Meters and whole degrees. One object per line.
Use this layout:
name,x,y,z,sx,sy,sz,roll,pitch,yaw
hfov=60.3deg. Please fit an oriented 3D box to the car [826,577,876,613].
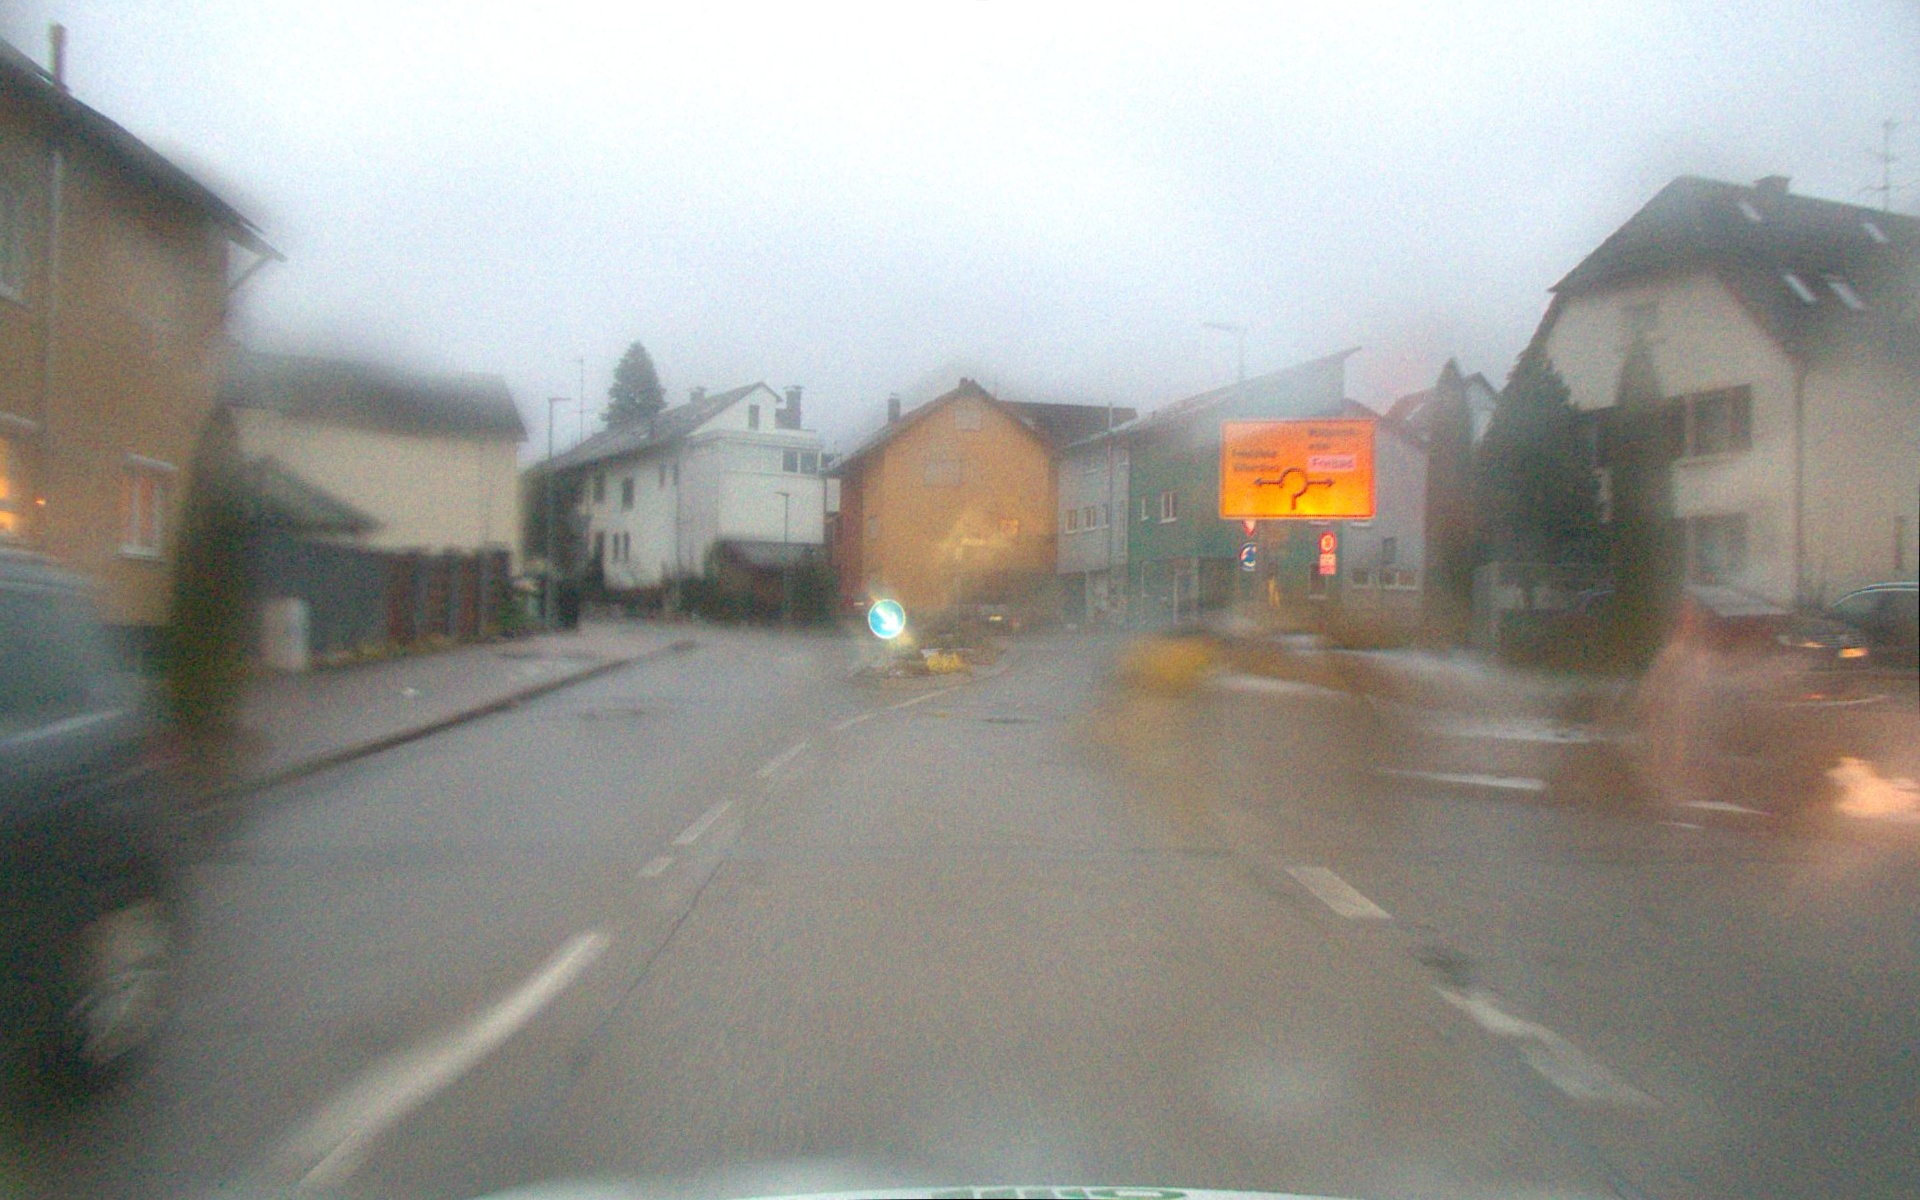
car,-5.423,-0.258,82.017,1.958,1.673,3.990,1,1,-11

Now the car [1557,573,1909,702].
car,11.093,0.494,24.090,1.788,1.657,4.512,-2,1,-26

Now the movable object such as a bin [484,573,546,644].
movable object such as a bin,-10.030,0.174,37.334,1.074,1.570,1.288,0,0,-3

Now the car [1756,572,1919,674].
car,15.583,0.352,27.509,1.788,1.594,3.966,-2,1,-26

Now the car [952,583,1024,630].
car,1.017,0.227,62.928,1.958,1.673,3.990,1,1,-11

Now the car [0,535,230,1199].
car,-3.271,0.674,3.468,1.874,1.682,3.998,1,1,-3
